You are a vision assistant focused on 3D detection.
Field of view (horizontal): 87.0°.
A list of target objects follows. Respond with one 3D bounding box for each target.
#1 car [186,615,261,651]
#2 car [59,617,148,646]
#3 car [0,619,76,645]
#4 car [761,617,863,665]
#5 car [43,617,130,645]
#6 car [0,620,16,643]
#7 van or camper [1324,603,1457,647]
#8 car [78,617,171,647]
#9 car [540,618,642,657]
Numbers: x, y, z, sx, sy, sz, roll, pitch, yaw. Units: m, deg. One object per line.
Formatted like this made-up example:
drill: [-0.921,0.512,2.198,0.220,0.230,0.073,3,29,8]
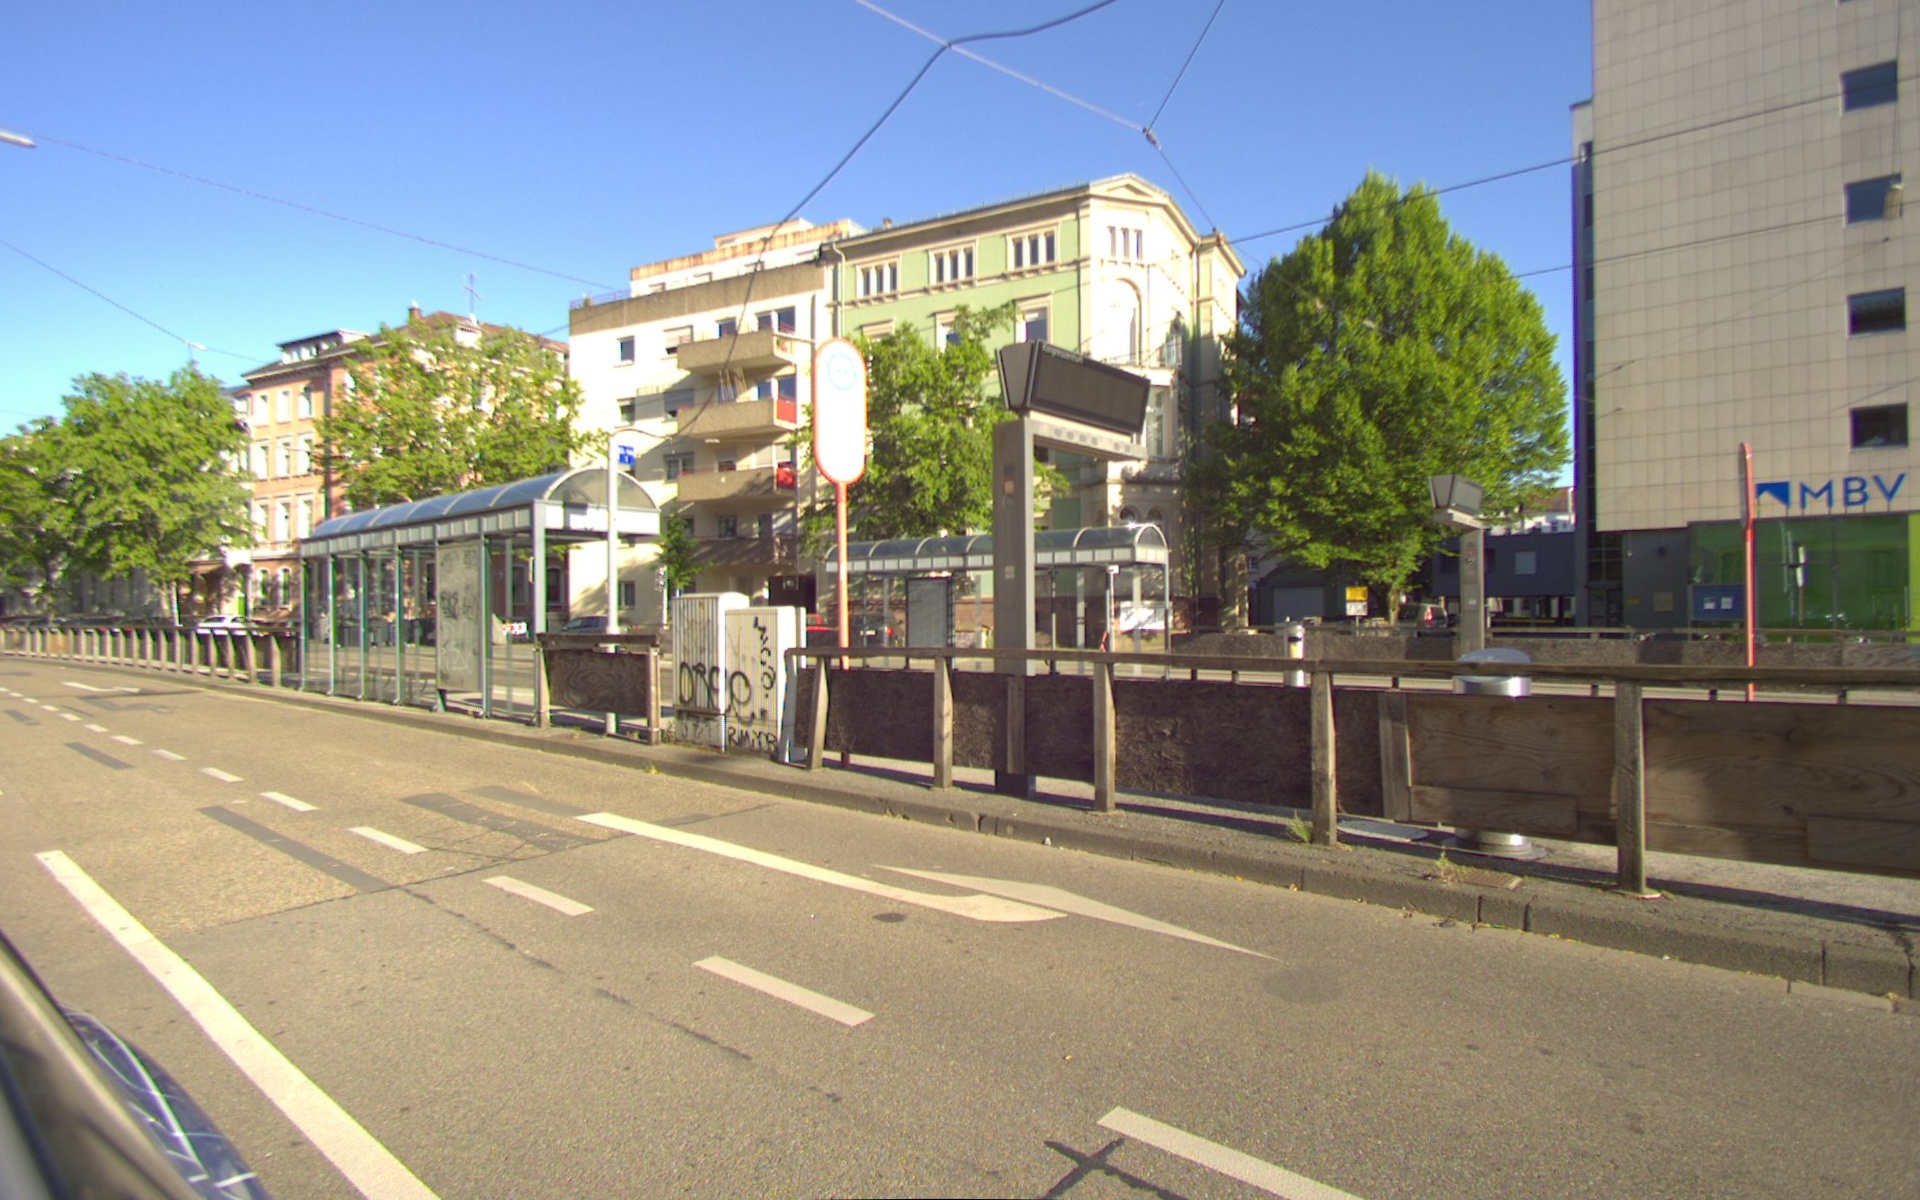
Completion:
car: [-39.519,1.747,54.384,1.966,1.736,4.012,0,1,-15]
car: [-51.291,1.882,60.640,2.001,1.697,3.942,-2,-2,44]
car: [-59.607,2.053,65.280,3.811,1.604,2.001,1,-2,-45]
car: [-5.000,1.361,34.698,1.763,1.547,3.763,-1,-2,23]
car: [-54.298,1.928,62.968,2.001,1.697,3.942,-2,-2,44]
car: [-68.097,2.185,70.125,2.001,1.604,3.812,-2,-2,44]
van or camper: [15.507,0.884,36.554,3.998,1.417,1.943,2,0,41]
car: [-47.974,1.819,58.167,2.001,1.697,3.942,-2,-2,44]
car: [-14.001,1.409,38.403,3.498,1.406,1.602,-1,-2,22]
